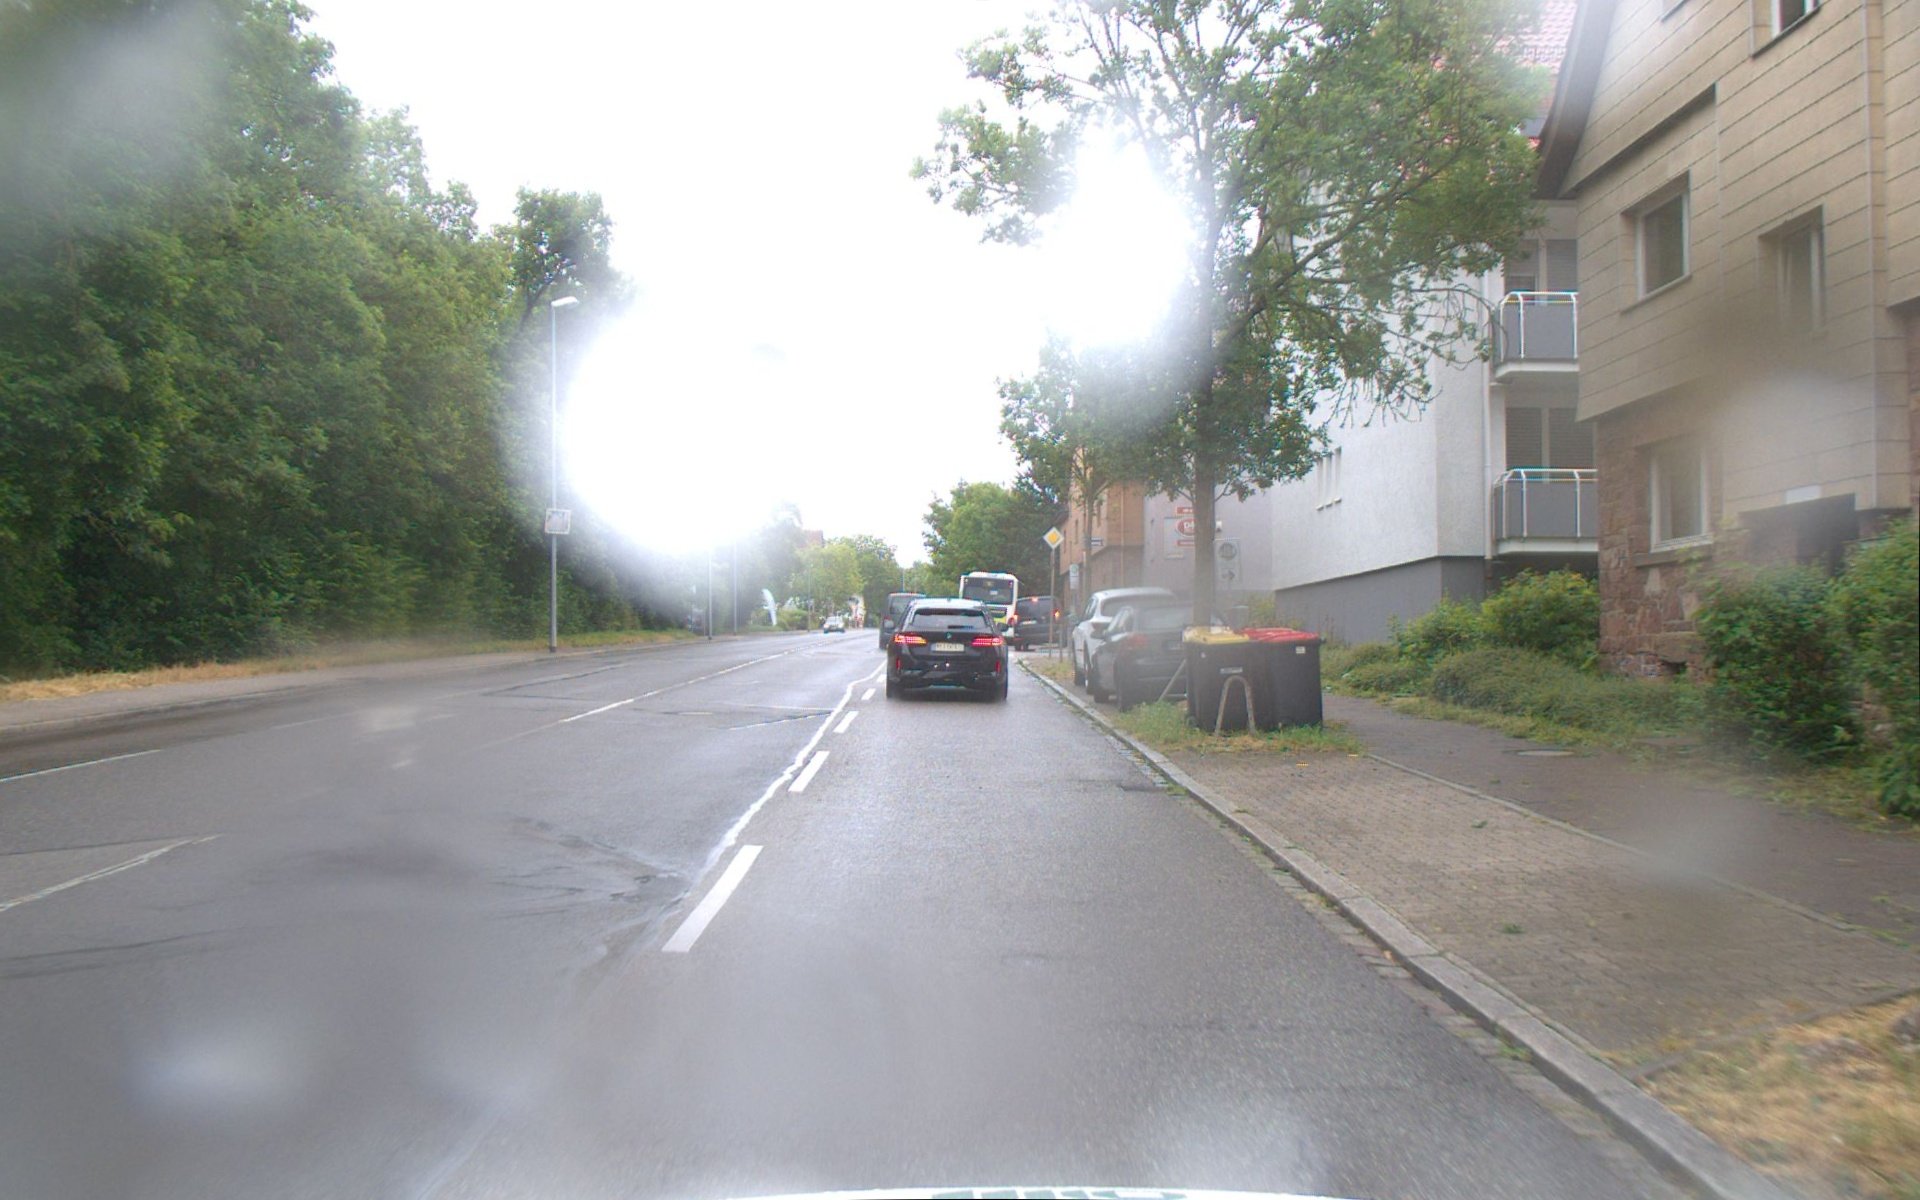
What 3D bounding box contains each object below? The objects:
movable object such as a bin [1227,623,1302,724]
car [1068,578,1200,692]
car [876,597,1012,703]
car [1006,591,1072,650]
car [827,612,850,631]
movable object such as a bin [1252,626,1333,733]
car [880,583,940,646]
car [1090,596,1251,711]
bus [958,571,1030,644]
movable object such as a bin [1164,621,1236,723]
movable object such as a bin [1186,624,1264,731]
[{"bbox_3d":[3.410,0.813,18.586,0.607,1.068,0.822,-3,0,-4],"label":"movable object such as a bin"},{"bbox_3d":[2.934,0.545,28.750,1.787,1.803,4.541,-1,0,0],"label":"car"},{"bbox_3d":[-0.328,0.738,26.393,1.954,1.478,3.998,2,0,-3],"label":"car"},{"bbox_3d":[2.927,0.748,60.069,1.886,1.925,4.764,-4,-1,7],"label":"car"},{"bbox_3d":[-10.689,1.903,145.439,1.734,1.560,3.999,-2,0,-1],"label":"car"},{"bbox_3d":[3.541,0.831,17.666,0.607,1.068,0.822,-3,0,-4],"label":"movable object such as a bin"},{"bbox_3d":[-1.660,0.474,56.295,1.953,2.049,3.999,0,0,-1],"label":"car"},{"bbox_3d":[2.886,0.698,23.441,1.608,1.474,3.996,0,0,-2],"label":"car"},{"bbox_3d":[1.559,0.271,71.599,2.568,2.897,8.293,-1,0,5],"label":"bus"},{"bbox_3d":[2.687,0.799,18.564,0.607,1.068,0.822,-3,0,-4],"label":"movable object such as a bin"},{"bbox_3d":[2.824,0.816,17.669,0.607,1.068,0.822,-3,0,-4],"label":"movable object such as a bin"}]
